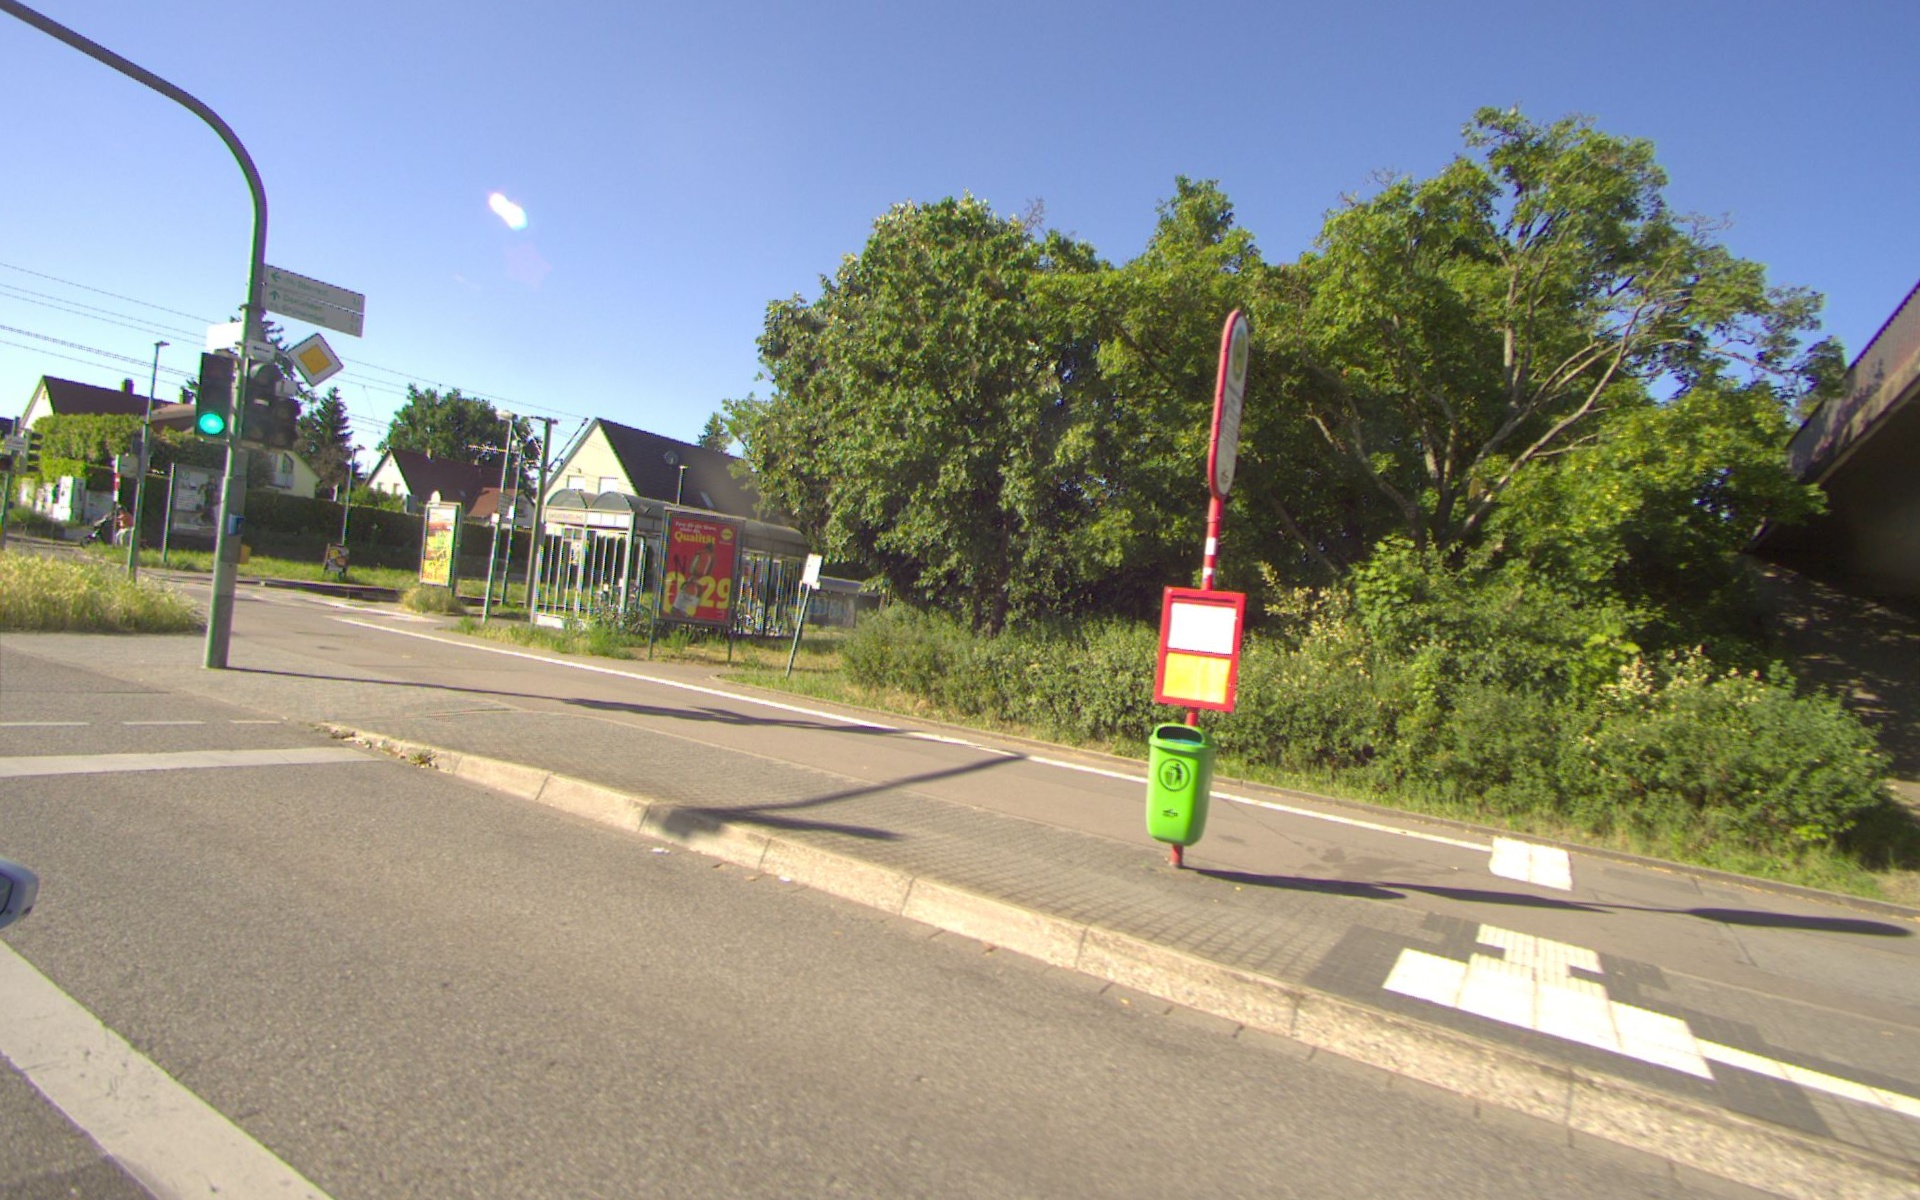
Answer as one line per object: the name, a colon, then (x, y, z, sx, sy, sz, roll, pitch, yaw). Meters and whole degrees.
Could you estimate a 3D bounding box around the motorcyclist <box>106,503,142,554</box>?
motorcyclist: (-27.664, -2.376, 33.294, 0.689, 1.577, 0.693, 7, 1, 37)

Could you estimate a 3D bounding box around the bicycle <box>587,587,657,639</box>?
bicycle: (-7.427, 0.284, 22.082, 1.758, 1.081, 0.430, 2, -1, 34)

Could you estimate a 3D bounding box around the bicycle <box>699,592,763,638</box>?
bicycle: (-5.683, 0.371, 24.931, 1.758, 1.081, 0.430, 2, -1, 34)

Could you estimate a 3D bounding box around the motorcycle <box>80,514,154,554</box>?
motorcycle: (-27.786, -2.157, 33.189, 0.444, 1.084, 1.755, 7, 0, 37)
